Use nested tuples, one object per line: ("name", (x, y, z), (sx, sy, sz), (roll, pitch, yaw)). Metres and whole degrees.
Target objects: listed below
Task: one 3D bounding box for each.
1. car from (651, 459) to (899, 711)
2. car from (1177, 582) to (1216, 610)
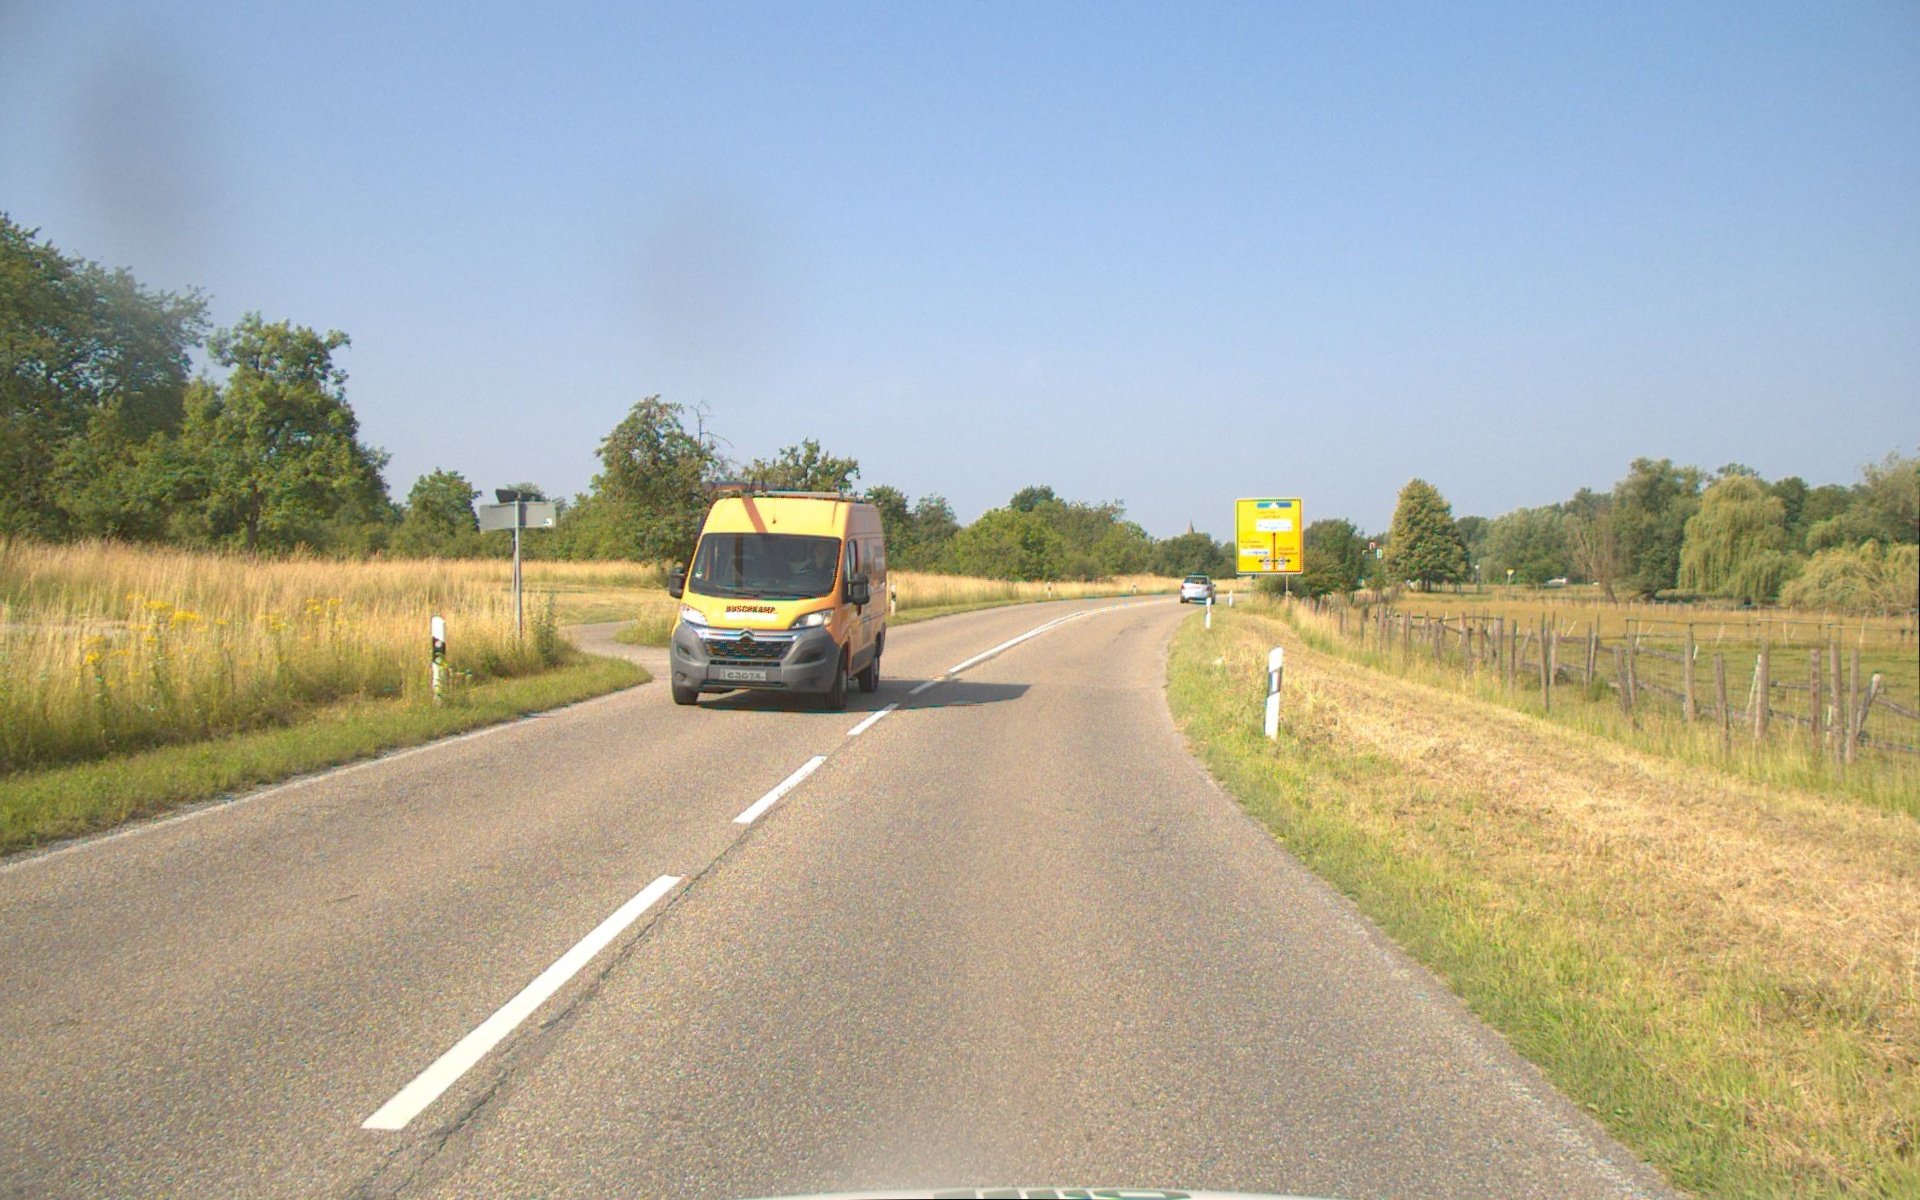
("car", (-2.158, -0.191, 21.029), (2.079, 2.743, 5.271), (2, 0, 5))
("car", (13.908, -0.223, 97.227), (1.859, 1.538, 4.003), (2, 1, 13))
